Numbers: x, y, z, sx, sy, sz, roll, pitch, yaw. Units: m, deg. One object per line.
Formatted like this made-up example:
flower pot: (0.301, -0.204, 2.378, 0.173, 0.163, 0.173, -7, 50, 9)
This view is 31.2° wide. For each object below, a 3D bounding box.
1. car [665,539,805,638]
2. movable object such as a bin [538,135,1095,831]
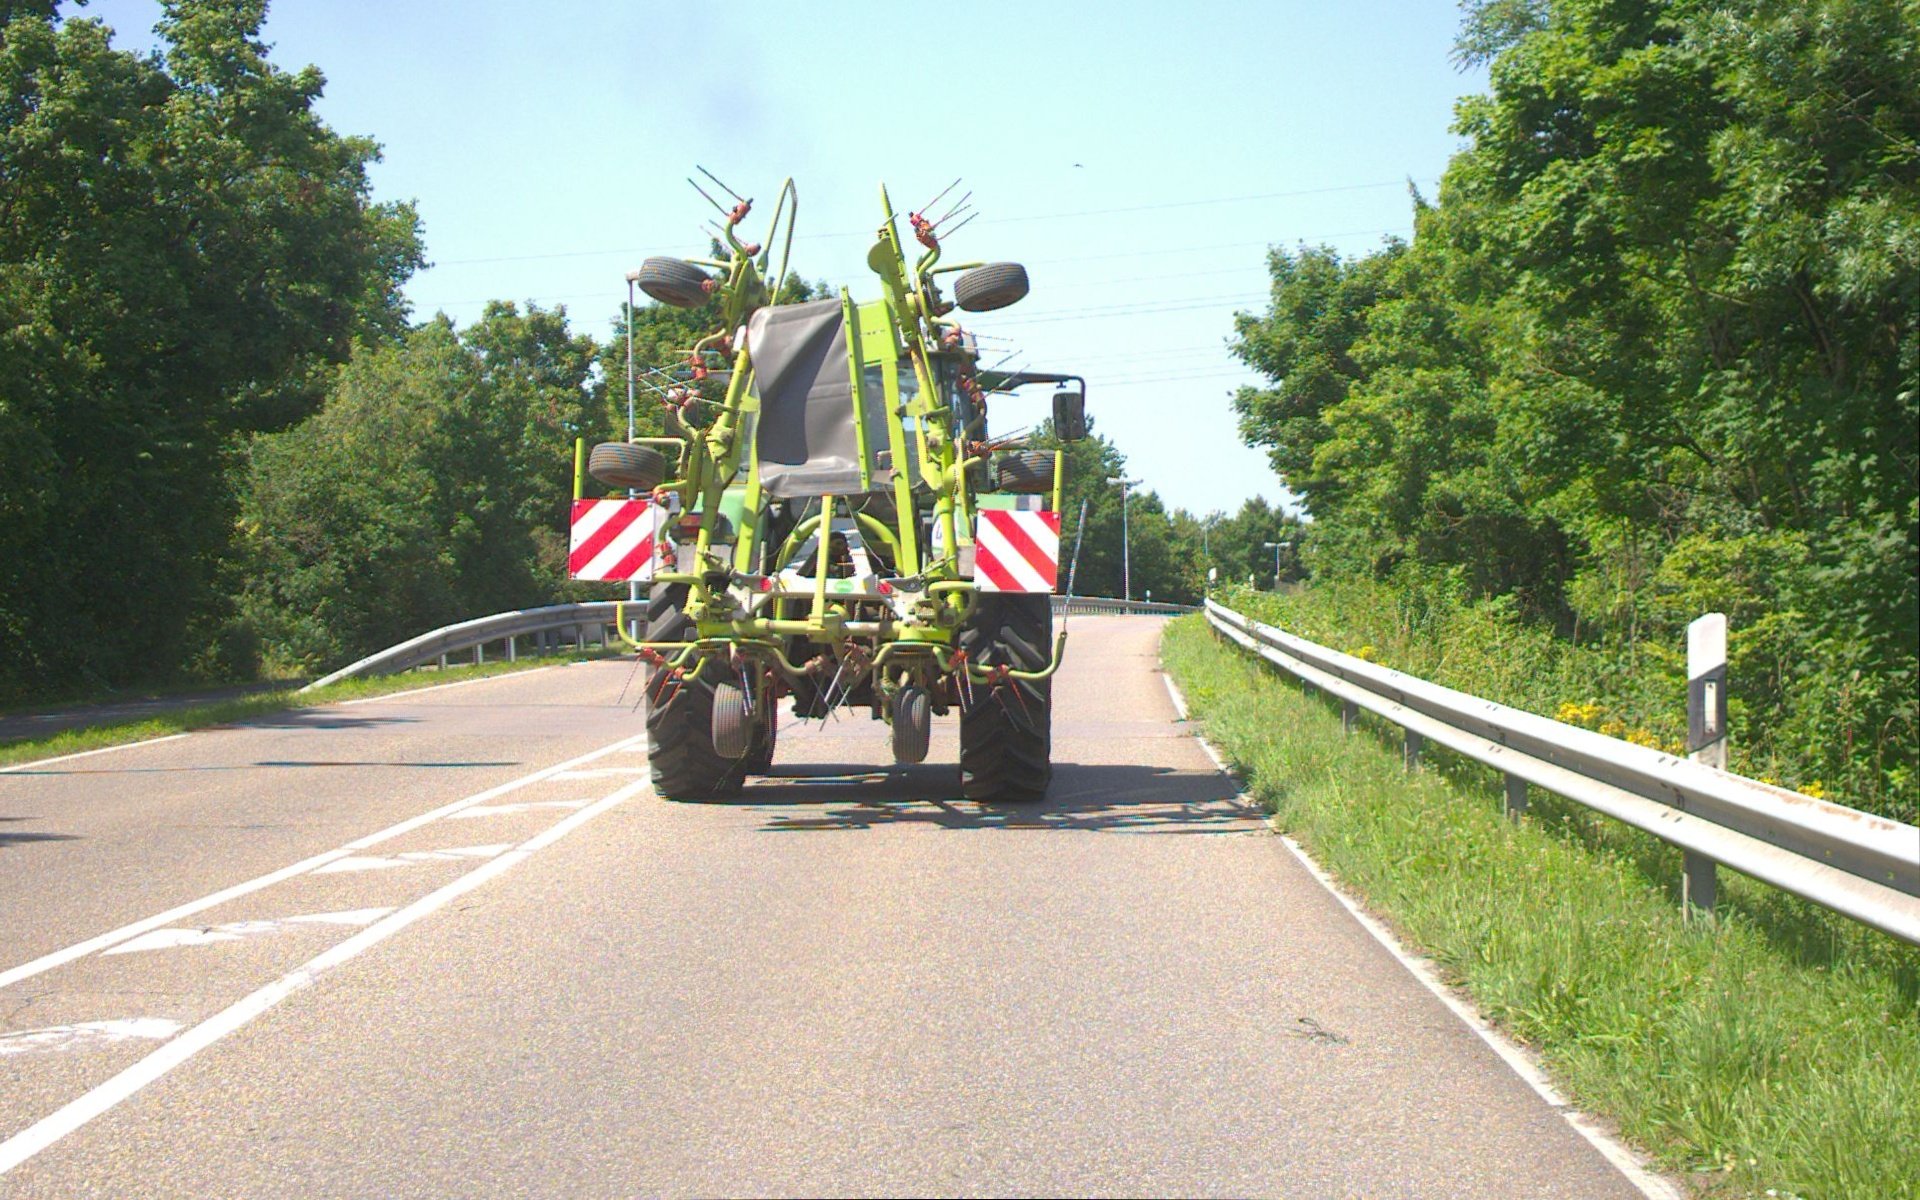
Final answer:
car: (-3.285, -0.184, 50.650, 1.627, 1.400, 3.432, 0, 1, 4)
movable object such as a bin: (-0.656, -0.621, 19.842, 2.755, 3.432, 5.670, 0, 1, 1)
